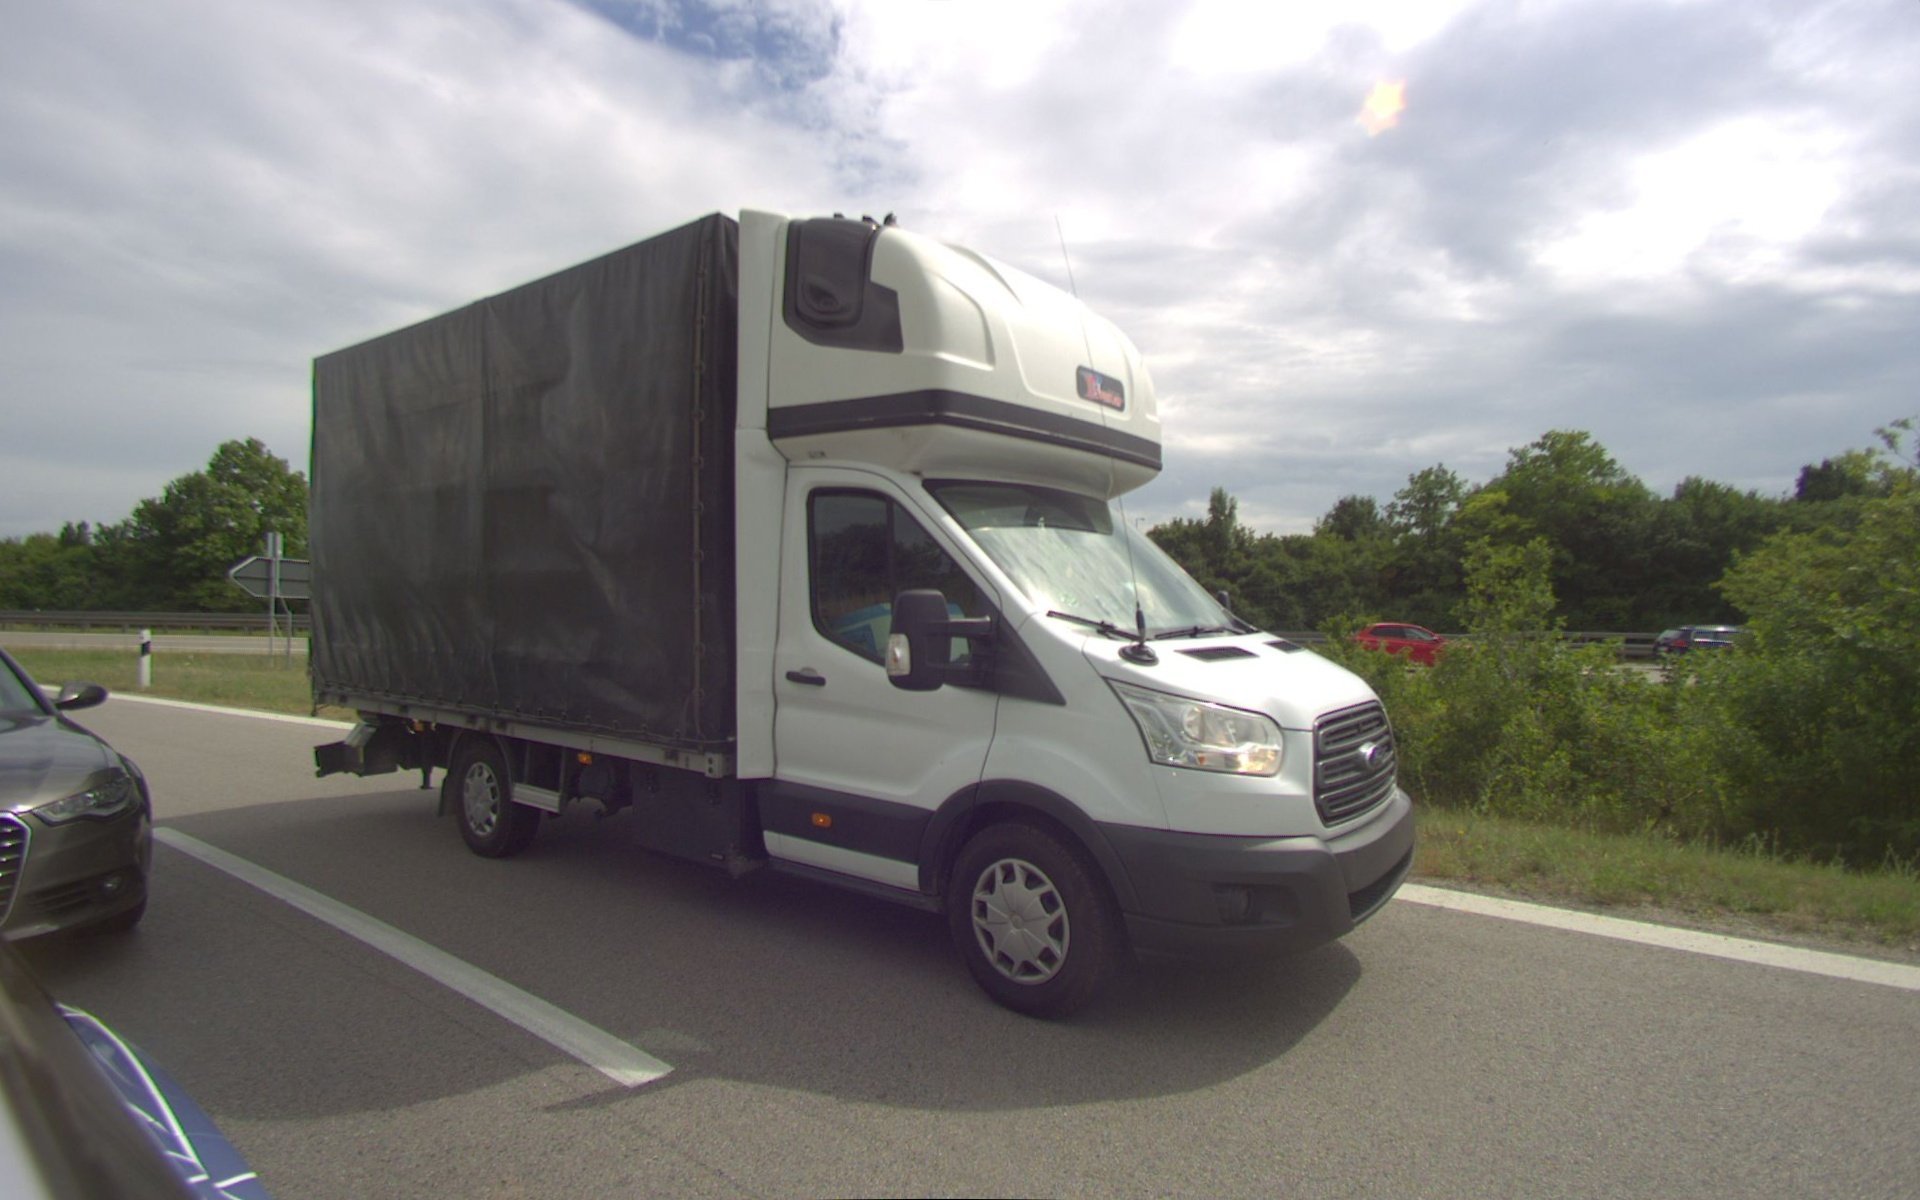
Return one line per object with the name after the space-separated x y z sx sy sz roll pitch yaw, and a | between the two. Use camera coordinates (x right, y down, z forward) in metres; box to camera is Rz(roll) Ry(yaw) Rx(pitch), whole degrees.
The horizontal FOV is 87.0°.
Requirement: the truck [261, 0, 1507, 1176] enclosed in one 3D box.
-1.241 -0.109 5.884 7.457 3.191 2.536 -1 0 38 | truck

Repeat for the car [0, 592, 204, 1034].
-5.310 0.764 4.645 4.535 1.526 1.973 -1 -1 40 | car

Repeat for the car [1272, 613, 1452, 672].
12.246 1.269 31.140 4.754 1.614 1.995 1 0 9 | car

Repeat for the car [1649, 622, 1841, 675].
25.920 1.582 33.556 4.669 1.611 1.997 1 -1 5 | car
